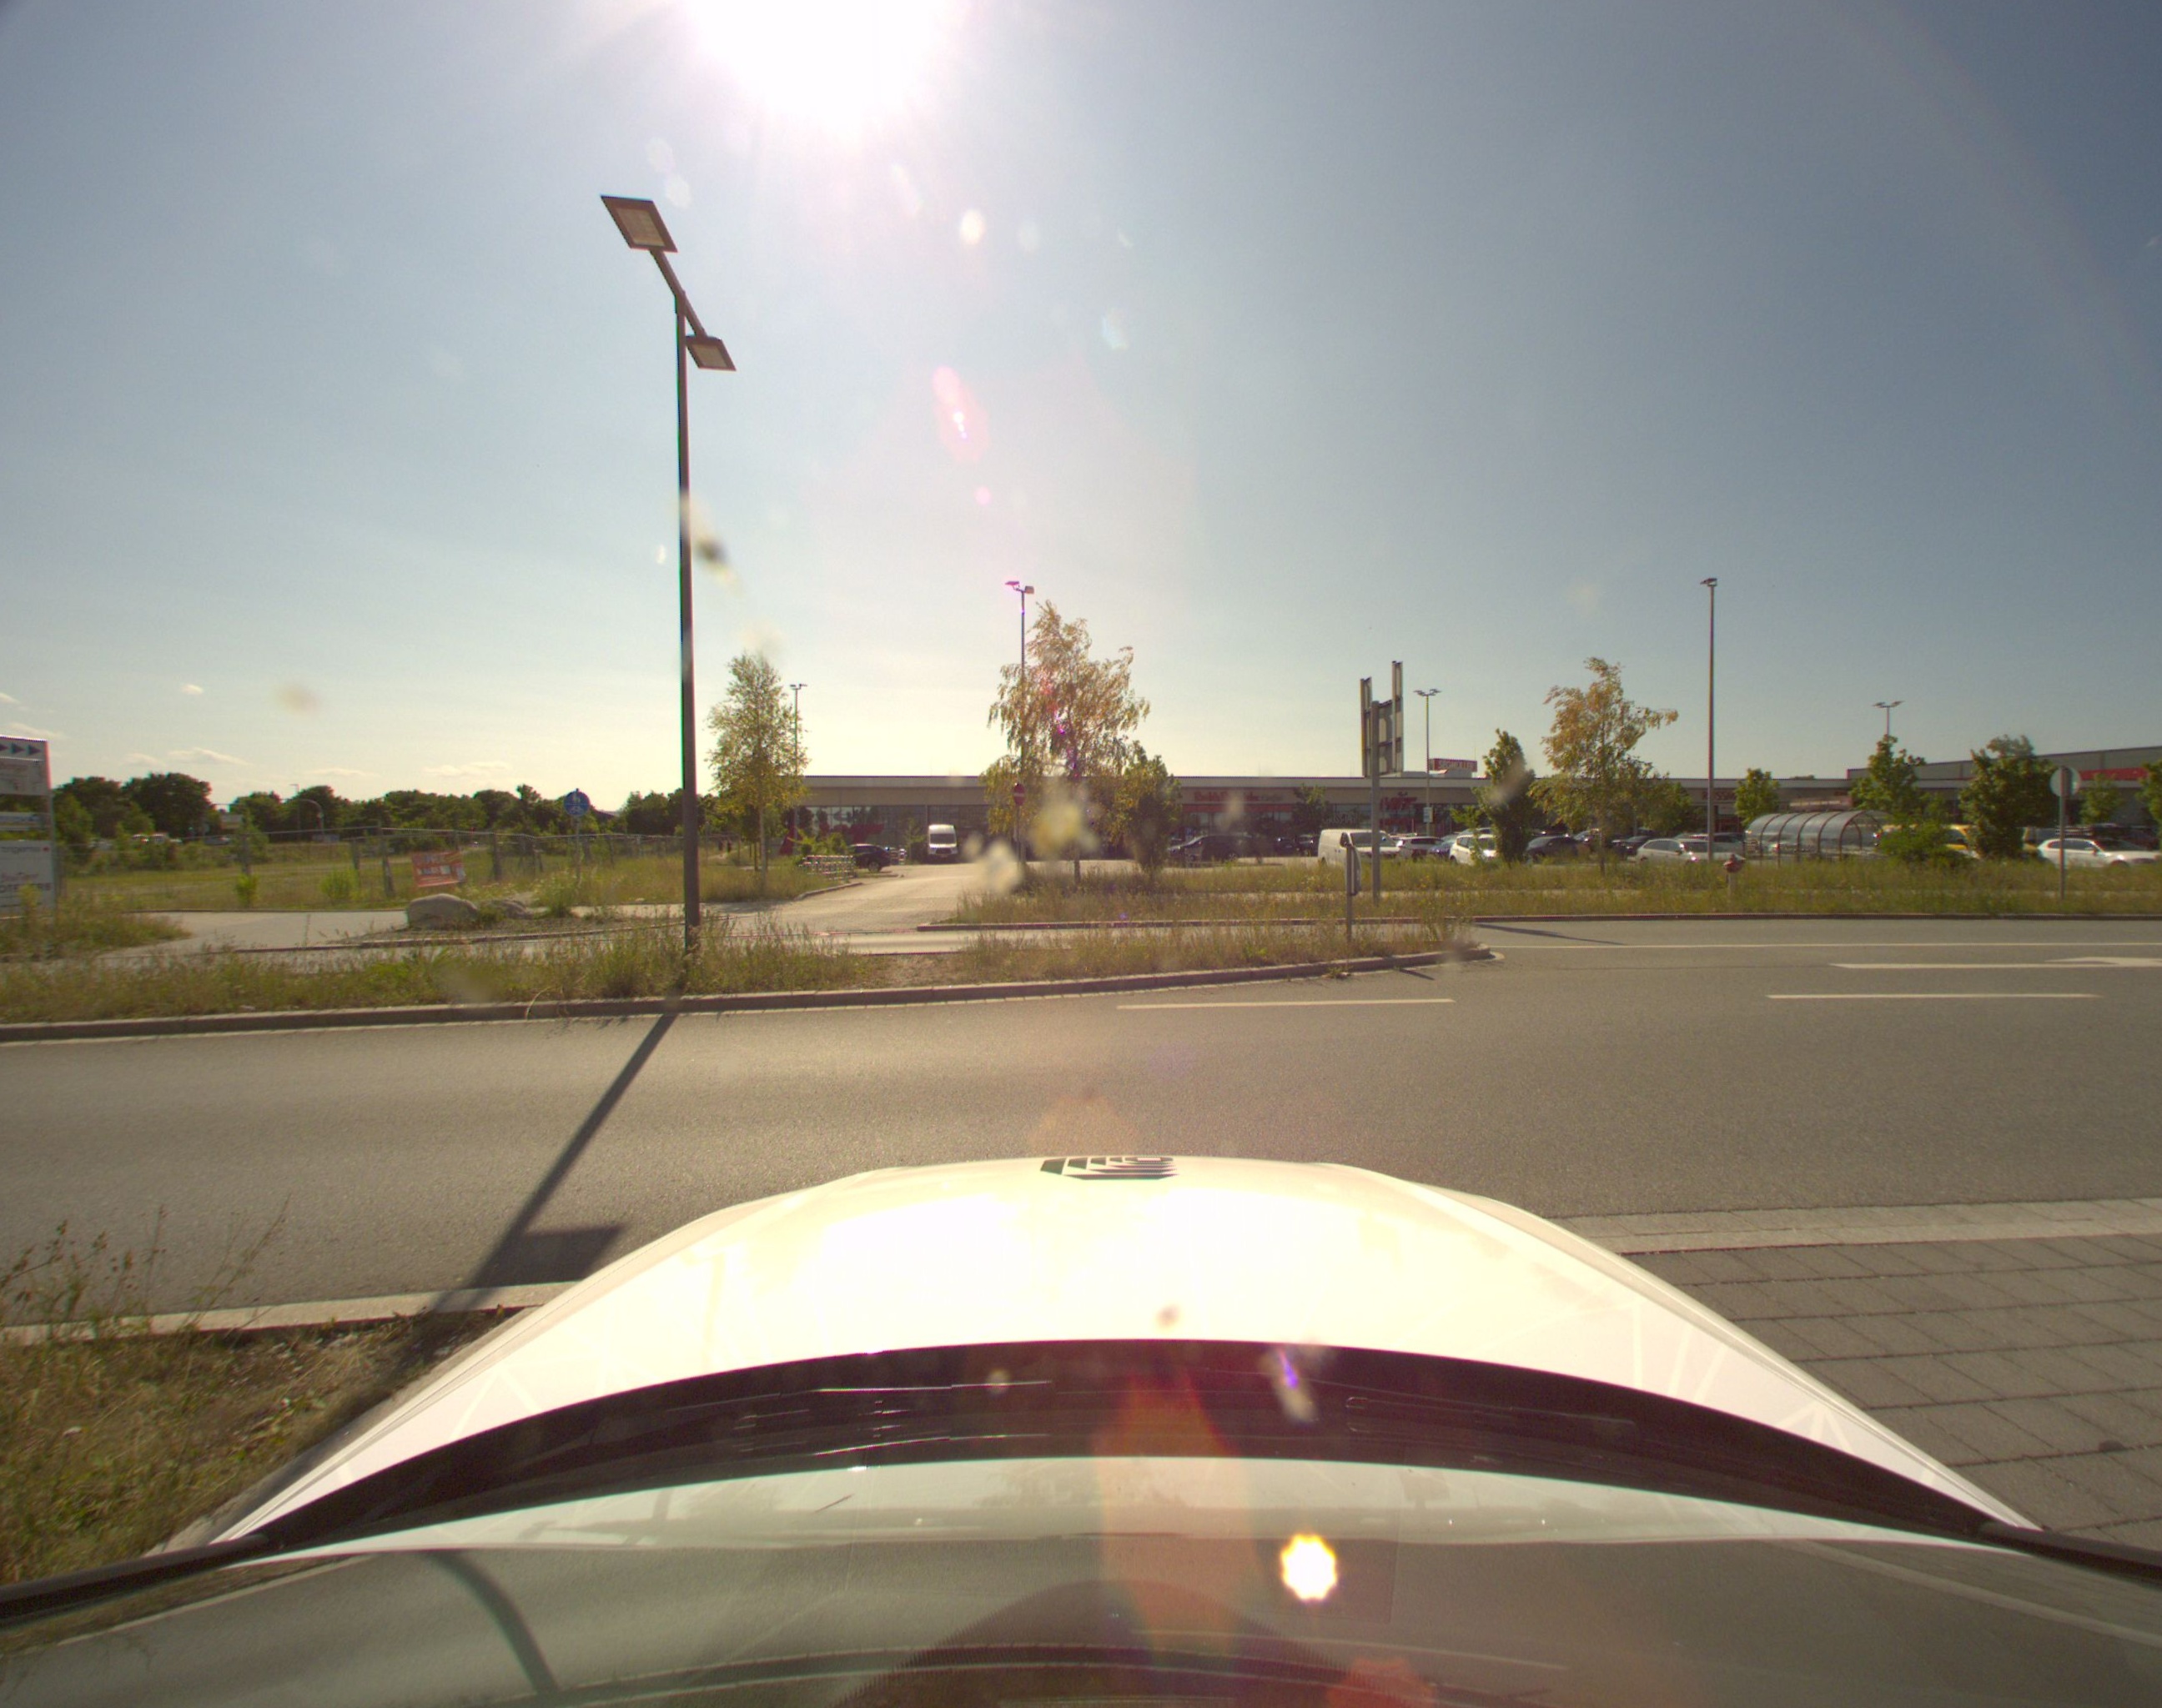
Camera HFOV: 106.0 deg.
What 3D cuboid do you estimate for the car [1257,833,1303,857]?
[{"bbox_3d":[14.913,-0.690,61.186,1.993,1.707,3.987,-1,1,-10],"label":"car"}]

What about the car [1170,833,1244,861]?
[{"bbox_3d":[7.149,-0.430,46.372,3.792,1.508,1.727,-1,1,-9],"label":"car"}]

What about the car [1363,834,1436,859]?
[{"bbox_3d":[18.920,-0.462,48.423,3.722,1.390,1.725,-1,1,-12],"label":"car"}]

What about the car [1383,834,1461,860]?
[{"bbox_3d":[18.999,-0.410,45.379,3.722,1.390,1.725,-1,1,-12],"label":"car"}]

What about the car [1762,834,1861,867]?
[{"bbox_3d":[42.922,-0.231,47.889,4.468,1.863,1.994,0,0,-9],"label":"car"}]

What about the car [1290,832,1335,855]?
[{"bbox_3d":[17.527,-0.818,61.860,1.990,1.707,3.993,-1,1,-5],"label":"car"}]

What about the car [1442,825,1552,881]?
[{"bbox_3d":[16.094,-0.095,31.858,2.147,2.013,5.124,0,1,5],"label":"car"}]

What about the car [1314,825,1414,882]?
[{"bbox_3d":[10.889,-0.076,31.779,2.075,2.013,5.227,-1,1,-1],"label":"car"}]

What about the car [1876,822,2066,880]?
[{"bbox_3d":[33.568,-0.159,30.997,2.145,2.013,5.128,0,1,8],"label":"car"}]

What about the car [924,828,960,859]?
[{"bbox_3d":[-9.895,-0.758,57.546,2.224,1.977,6.668,-1,1,-12],"label":"car"}]

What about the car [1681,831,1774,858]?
[{"bbox_3d":[37.028,-0.529,46.687,4.332,1.520,1.651,0,0,-7],"label":"car"}]

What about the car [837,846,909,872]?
[{"bbox_3d":[-11.581,0.250,45.631,3.836,1.423,1.765,0,0,-13],"label":"car"}]

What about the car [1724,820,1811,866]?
[{"bbox_3d":[42.740,-0.691,50.706,4.477,2.821,1.990,0,0,-15],"label":"car"}]

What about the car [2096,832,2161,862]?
[{"bbox_3d":[73.308,-0.488,56.280,4.468,2.037,1.994,0,0,-9],"label":"car"}]

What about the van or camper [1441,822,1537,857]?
[{"bbox_3d":[24.899,-0.904,49.810,5.030,2.013,1.996,-1,1,-7],"label":"van or camper"}]

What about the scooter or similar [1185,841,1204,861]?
[{"bbox_3d":[6.195,-0.149,44.545,0.941,1.079,0.651,-1,1,-5],"label":"scooter or similar"}]

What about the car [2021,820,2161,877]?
[{"bbox_3d":[38.577,-0.241,30.527,1.927,2.013,4.421,0,1,8],"label":"car"}]

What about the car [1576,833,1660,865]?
[{"bbox_3d":[36.046,-0.347,54.724,4.462,2.102,1.997,0,0,-5],"label":"car"}]

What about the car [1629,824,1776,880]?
[{"bbox_3d":[23.877,-0.125,31.599,2.147,2.013,5.124,0,1,5],"label":"car"}]

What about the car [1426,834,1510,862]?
[{"bbox_3d":[20.370,-0.351,42.935,3.722,1.390,1.725,-1,1,-12],"label":"car"}]

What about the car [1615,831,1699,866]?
[{"bbox_3d":[36.523,-0.361,51.660,4.477,2.191,1.990,0,0,-15],"label":"car"}]

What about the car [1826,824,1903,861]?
[{"bbox_3d":[59.606,-0.884,62.002,4.468,2.821,1.994,0,0,-9],"label":"car"}]

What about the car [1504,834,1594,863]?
[{"bbox_3d":[25.513,-0.311,44.436,3.984,1.508,1.870,0,0,-8],"label":"car"}]

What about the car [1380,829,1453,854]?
[{"bbox_3d":[23.621,-0.892,57.398,4.465,1.706,1.871,0,0,-6],"label":"car"}]
